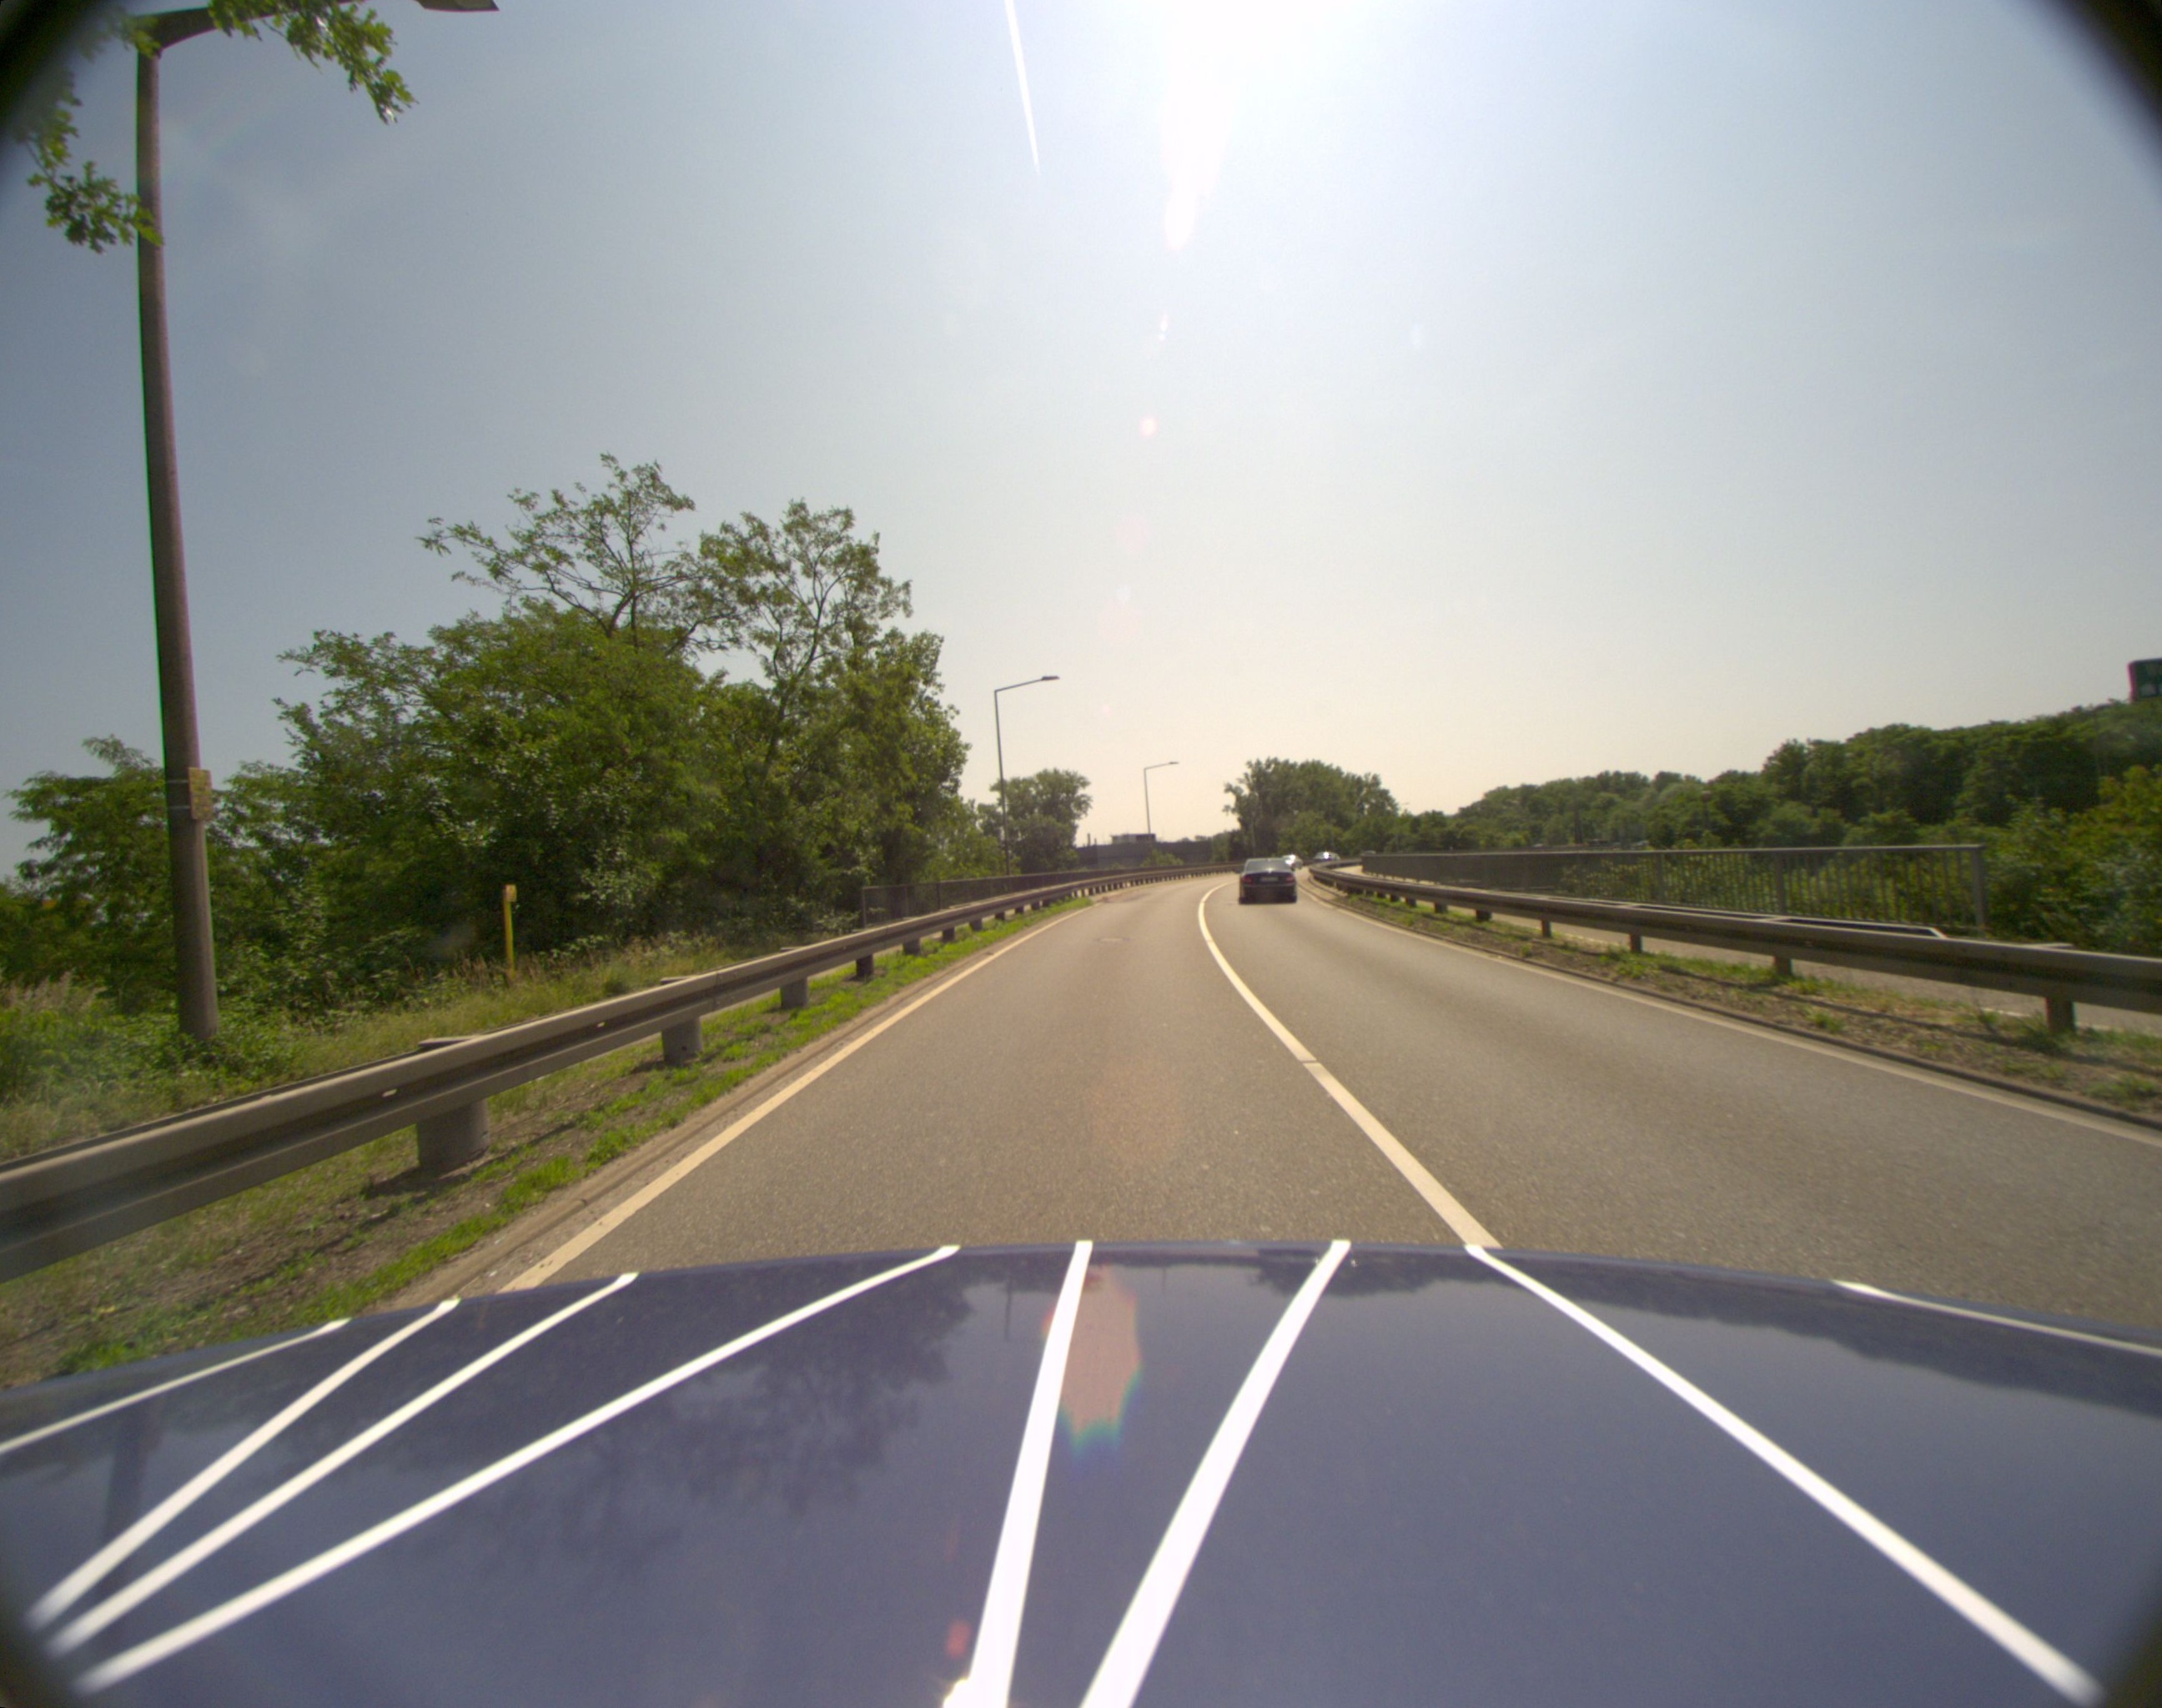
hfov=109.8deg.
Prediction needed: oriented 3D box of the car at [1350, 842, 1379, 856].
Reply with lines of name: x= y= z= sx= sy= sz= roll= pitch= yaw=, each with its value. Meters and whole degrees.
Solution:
car: x=32.999 y=-0.575 z=88.382 sx=1.804 sy=1.408 sz=4.366 roll=-2 pitch=0 yaw=38

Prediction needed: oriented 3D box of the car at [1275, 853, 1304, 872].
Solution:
car: x=20.152 y=0.820 z=73.318 sx=1.760 sy=1.491 sz=4.240 roll=-2 pitch=2 yaw=29

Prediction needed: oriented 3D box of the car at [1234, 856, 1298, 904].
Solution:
car: x=6.083 y=0.806 z=25.384 sx=1.807 sy=1.408 sz=4.361 roll=-2 pitch=0 yaw=10

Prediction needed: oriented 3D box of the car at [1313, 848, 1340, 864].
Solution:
car: x=23.256 y=0.162 z=71.978 sx=1.805 sy=1.408 sz=4.365 roll=-2 pitch=0 yaw=26
